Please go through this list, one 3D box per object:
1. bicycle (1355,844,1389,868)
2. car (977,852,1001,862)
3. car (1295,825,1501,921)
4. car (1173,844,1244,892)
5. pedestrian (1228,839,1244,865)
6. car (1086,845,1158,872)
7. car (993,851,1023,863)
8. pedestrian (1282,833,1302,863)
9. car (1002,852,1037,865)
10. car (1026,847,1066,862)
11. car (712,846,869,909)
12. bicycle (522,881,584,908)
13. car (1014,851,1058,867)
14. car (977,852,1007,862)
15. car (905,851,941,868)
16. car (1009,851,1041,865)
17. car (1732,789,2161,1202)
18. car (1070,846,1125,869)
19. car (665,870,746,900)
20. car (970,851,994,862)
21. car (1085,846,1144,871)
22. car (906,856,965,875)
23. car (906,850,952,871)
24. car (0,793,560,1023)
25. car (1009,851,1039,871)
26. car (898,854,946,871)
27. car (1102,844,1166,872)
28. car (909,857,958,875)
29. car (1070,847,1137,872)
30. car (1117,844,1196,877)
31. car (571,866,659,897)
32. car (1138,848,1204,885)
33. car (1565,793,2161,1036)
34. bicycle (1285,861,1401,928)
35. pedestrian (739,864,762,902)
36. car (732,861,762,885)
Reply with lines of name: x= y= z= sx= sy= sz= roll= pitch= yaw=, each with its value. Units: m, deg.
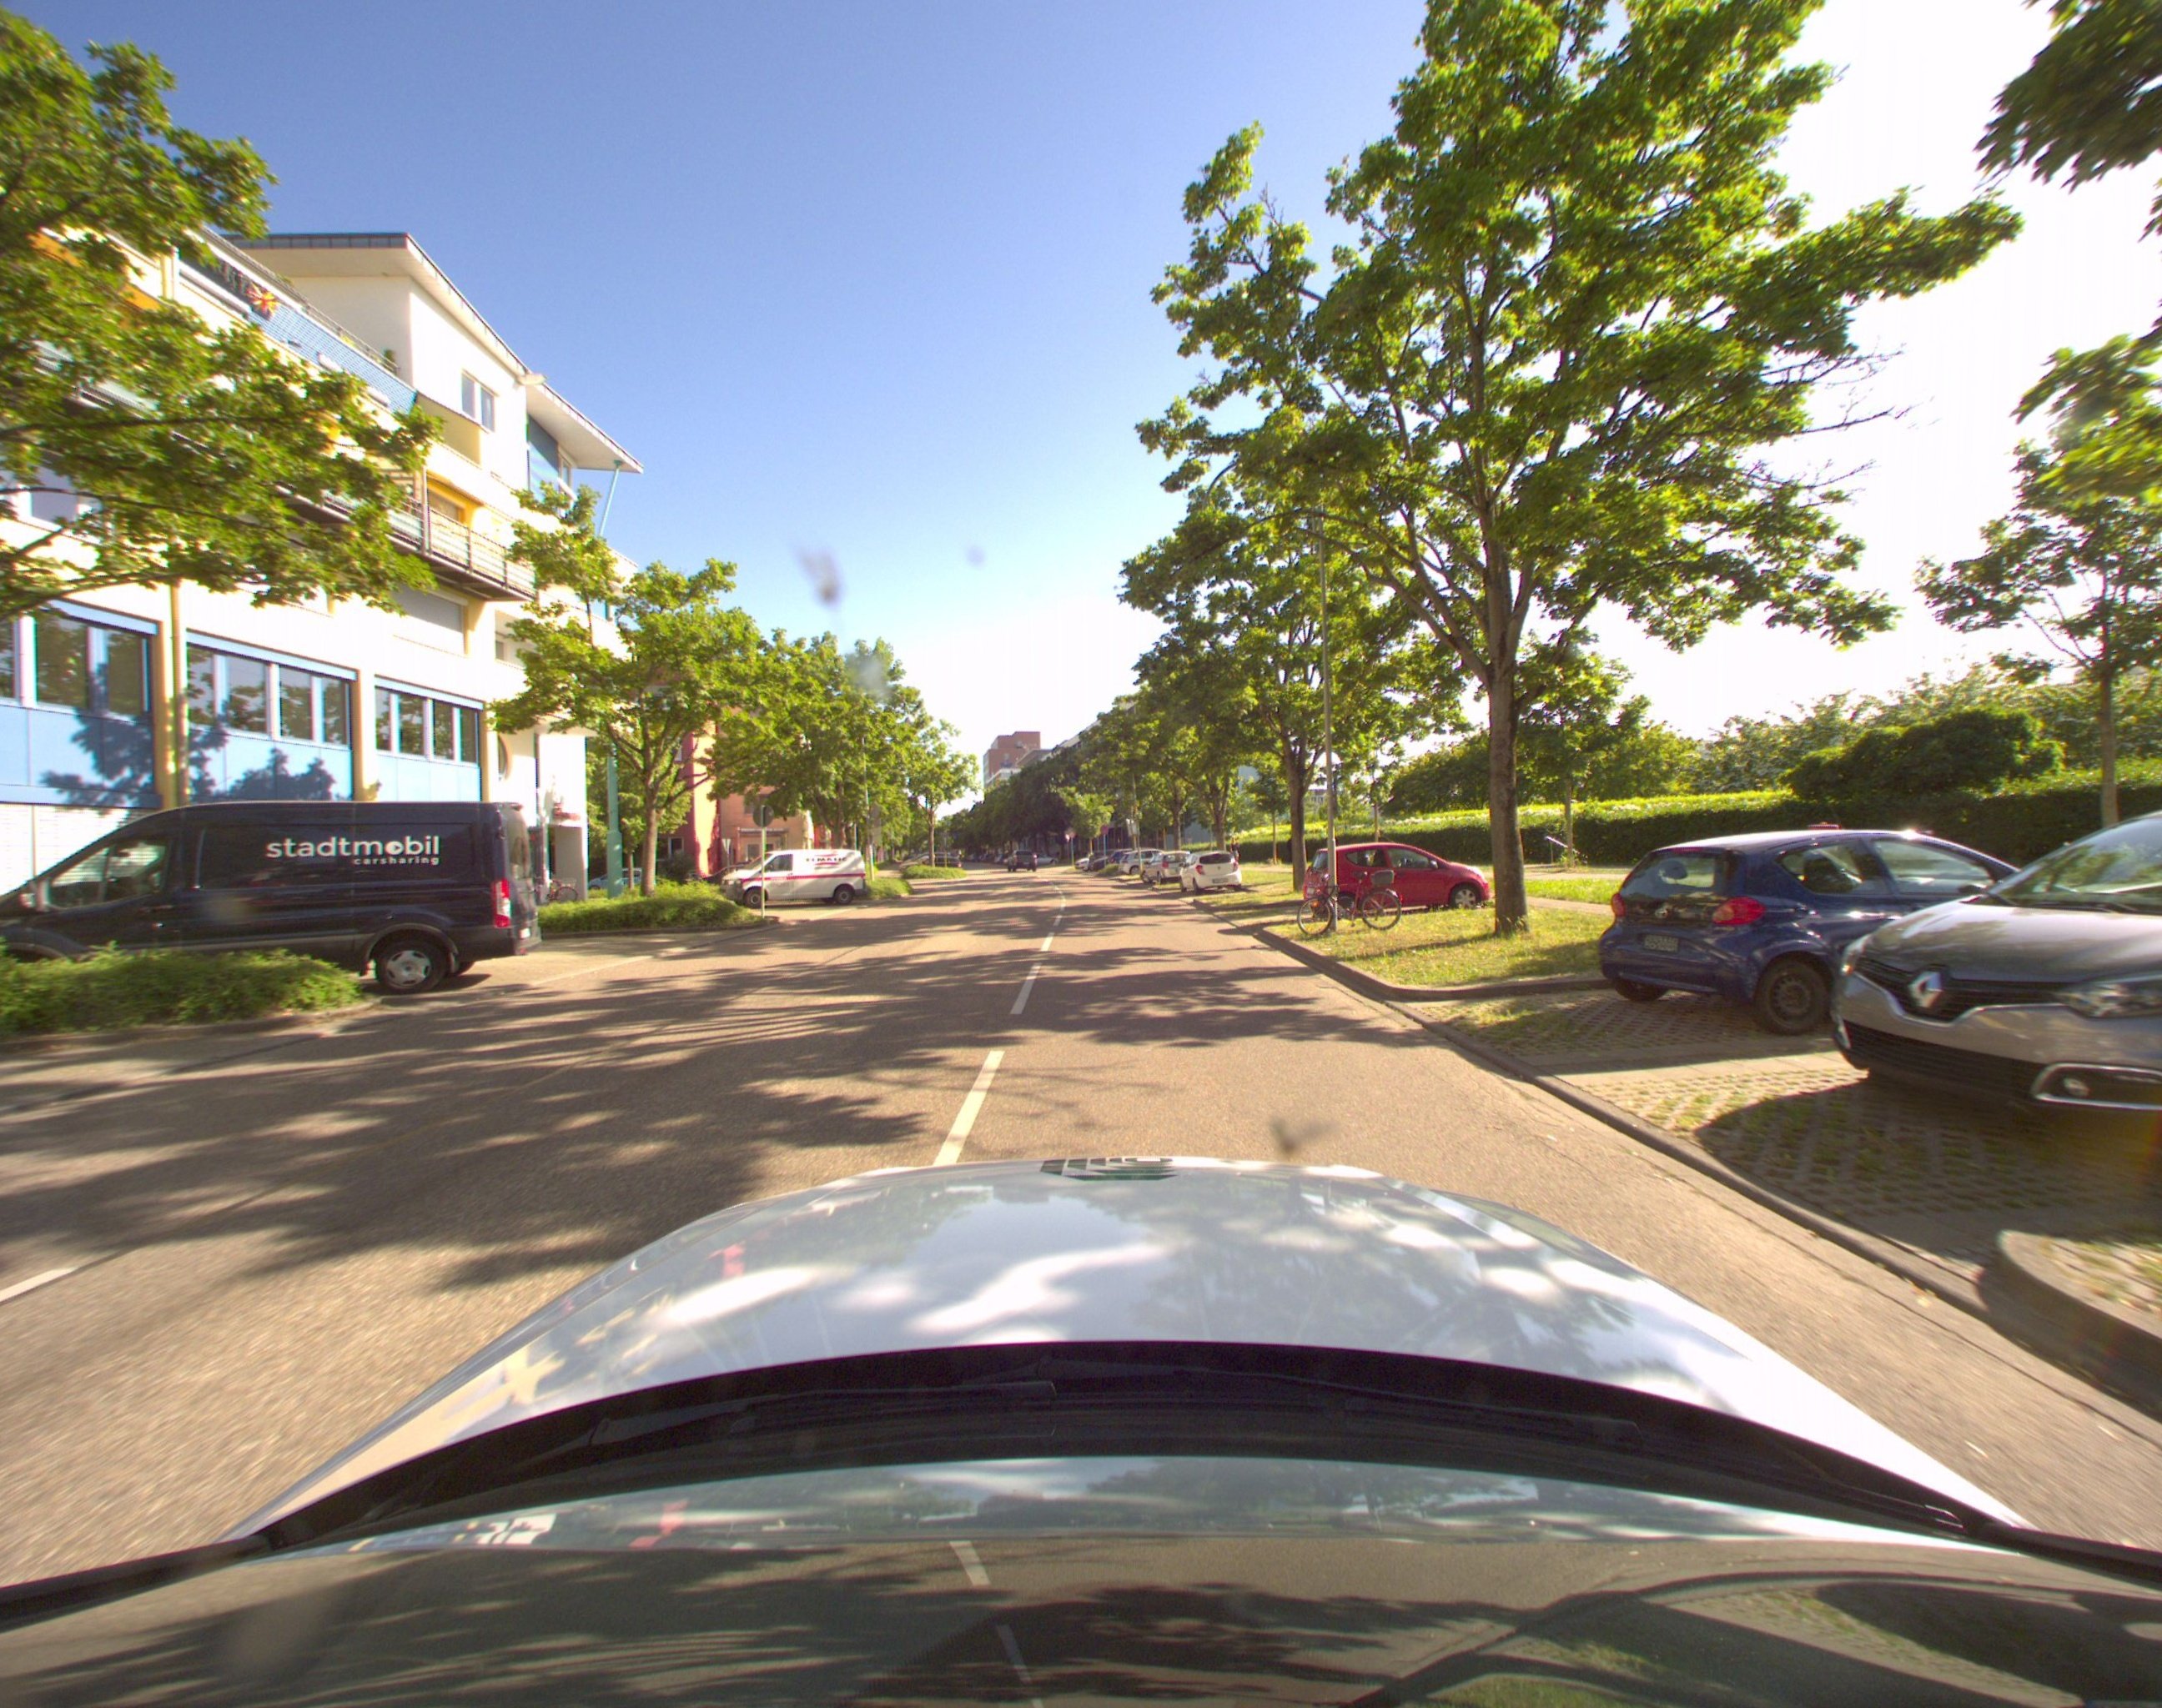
bicycle: x=11.328 y=0.085 z=31.771 sx=0.348 sy=0.866 sz=1.398 roll=-3 pitch=0 yaw=-24
car: x=-16.360 y=0.516 z=144.966 sx=3.951 sy=1.514 sz=1.806 roll=-3 pitch=0 yaw=-11
car: x=6.268 y=0.378 z=16.383 sx=3.422 sy=1.544 sz=1.627 roll=-5 pitch=-1 yaw=1
car: x=4.526 y=0.472 z=29.493 sx=1.640 sy=1.493 sz=3.759 roll=-4 pitch=0 yaw=-4
pedestrian: x=9.598 y=-0.136 z=50.407 sx=0.607 sy=1.542 sz=0.934 roll=-2 pitch=0 yaw=-10
car: x=2.832 y=0.294 z=56.454 sx=4.553 sy=1.515 sz=2.150 roll=-4 pitch=0 yaw=-12
car: x=-10.308 y=0.458 z=114.732 sx=3.976 sy=1.420 sz=1.702 roll=-3 pitch=0 yaw=-14
pedestrian: x=11.316 y=-0.311 z=43.731 sx=0.723 sy=1.588 sz=0.850 roll=-2 pitch=0 yaw=-10
car: x=-8.155 y=0.567 z=107.974 sx=4.299 sy=1.493 sz=1.991 roll=-3 pitch=0 yaw=-19
car: x=-4.132 y=0.073 z=95.281 sx=4.513 sy=1.542 sz=1.916 roll=-3 pitch=0 yaw=-9
car: x=-10.084 y=0.746 z=28.408 sx=4.793 sy=1.985 sz=1.978 roll=-1 pitch=1 yaw=-37
bicycle: x=-18.480 y=1.393 z=28.547 sx=1.810 sy=0.872 sz=0.487 roll=0 pitch=-1 yaw=-33
car: x=-5.014 y=0.553 z=90.777 sx=4.581 sy=1.475 sz=1.740 roll=-4 pitch=0 yaw=-12
car: x=-14.967 y=0.517 z=136.675 sx=4.833 sy=1.420 sz=2.022 roll=-3 pitch=0 yaw=-14
car: x=-20.363 y=0.684 z=104.869 sx=4.489 sy=2.090 sz=2.075 roll=0 pitch=0 yaw=-11
car: x=-7.177 y=0.530 z=104.982 sx=3.754 sy=1.493 sz=1.606 roll=-3 pitch=0 yaw=-19
car: x=6.161 y=0.421 z=4.106 sx=4.179 sy=1.546 sz=1.859 roll=-5 pitch=0 yaw=1
car: x=1.300 y=0.297 z=63.987 sx=3.959 sy=1.515 sz=1.691 roll=-4 pitch=0 yaw=-18
car: x=-22.281 y=1.831 z=48.479 sx=3.986 sy=1.447 sz=1.796 roll=-2 pitch=3 yaw=-13
car: x=-19.234 y=0.480 z=158.696 sx=4.359 sy=1.704 sz=1.803 roll=-3 pitch=0 yaw=-16
car: x=2.435 y=0.339 z=58.969 sx=3.879 sy=1.515 sz=1.743 roll=-4 pitch=0 yaw=-12
car: x=-10.904 y=0.844 z=61.254 sx=4.261 sy=1.423 sz=1.734 roll=0 pitch=0 yaw=-9
car: x=-13.226 y=0.526 z=70.963 sx=3.895 sy=1.811 sz=1.778 roll=0 pitch=0 yaw=-12
car: x=-10.154 y=0.545 z=10.493 sx=5.515 sy=2.436 sz=2.168 roll=-1 pitch=0 yaw=-26
car: x=-4.904 y=0.623 z=69.698 sx=1.995 sy=1.640 sz=3.983 roll=0 pitch=0 yaw=-12
car: x=-13.353 y=0.727 z=68.511 sx=3.895 sy=1.423 sz=1.732 roll=0 pitch=0 yaw=-12
car: x=3.474 y=0.277 z=53.835 sx=3.807 sy=1.448 sz=1.738 roll=-6 pitch=0 yaw=-11
car: x=-11.953 y=0.932 z=66.036 sx=3.895 sy=1.423 sz=1.732 roll=0 pitch=0 yaw=-12
car: x=1.712 y=0.406 z=61.424 sx=4.563 sy=1.515 sz=1.970 roll=-4 pitch=0 yaw=-18
car: x=4.215 y=0.336 z=45.775 sx=4.084 sy=1.429 sz=1.639 roll=-6 pitch=0 yaw=-6
car: x=-27.097 y=1.578 z=47.473 sx=3.999 sy=1.450 sz=1.929 roll=-2 pitch=3 yaw=-13
car: x=4.056 y=0.550 z=37.493 sx=1.809 sy=1.493 sz=4.609 roll=-4 pitch=0 yaw=-9
car: x=6.385 y=0.422 z=6.868 sx=3.454 sy=1.479 sz=1.857 roll=-5 pitch=0 yaw=-3
bicycle: x=4.318 y=0.666 z=13.520 sx=1.739 sy=0.991 sz=0.532 roll=-4 pitch=0 yaw=11
pedestrian: x=-15.297 y=1.323 z=37.681 sx=0.656 sy=1.725 sz=1.019 roll=-3 pitch=0 yaw=-8
car: x=-22.555 y=1.221 z=54.923 sx=1.741 sy=1.443 sz=4.100 roll=-3 pitch=1 yaw=-23
